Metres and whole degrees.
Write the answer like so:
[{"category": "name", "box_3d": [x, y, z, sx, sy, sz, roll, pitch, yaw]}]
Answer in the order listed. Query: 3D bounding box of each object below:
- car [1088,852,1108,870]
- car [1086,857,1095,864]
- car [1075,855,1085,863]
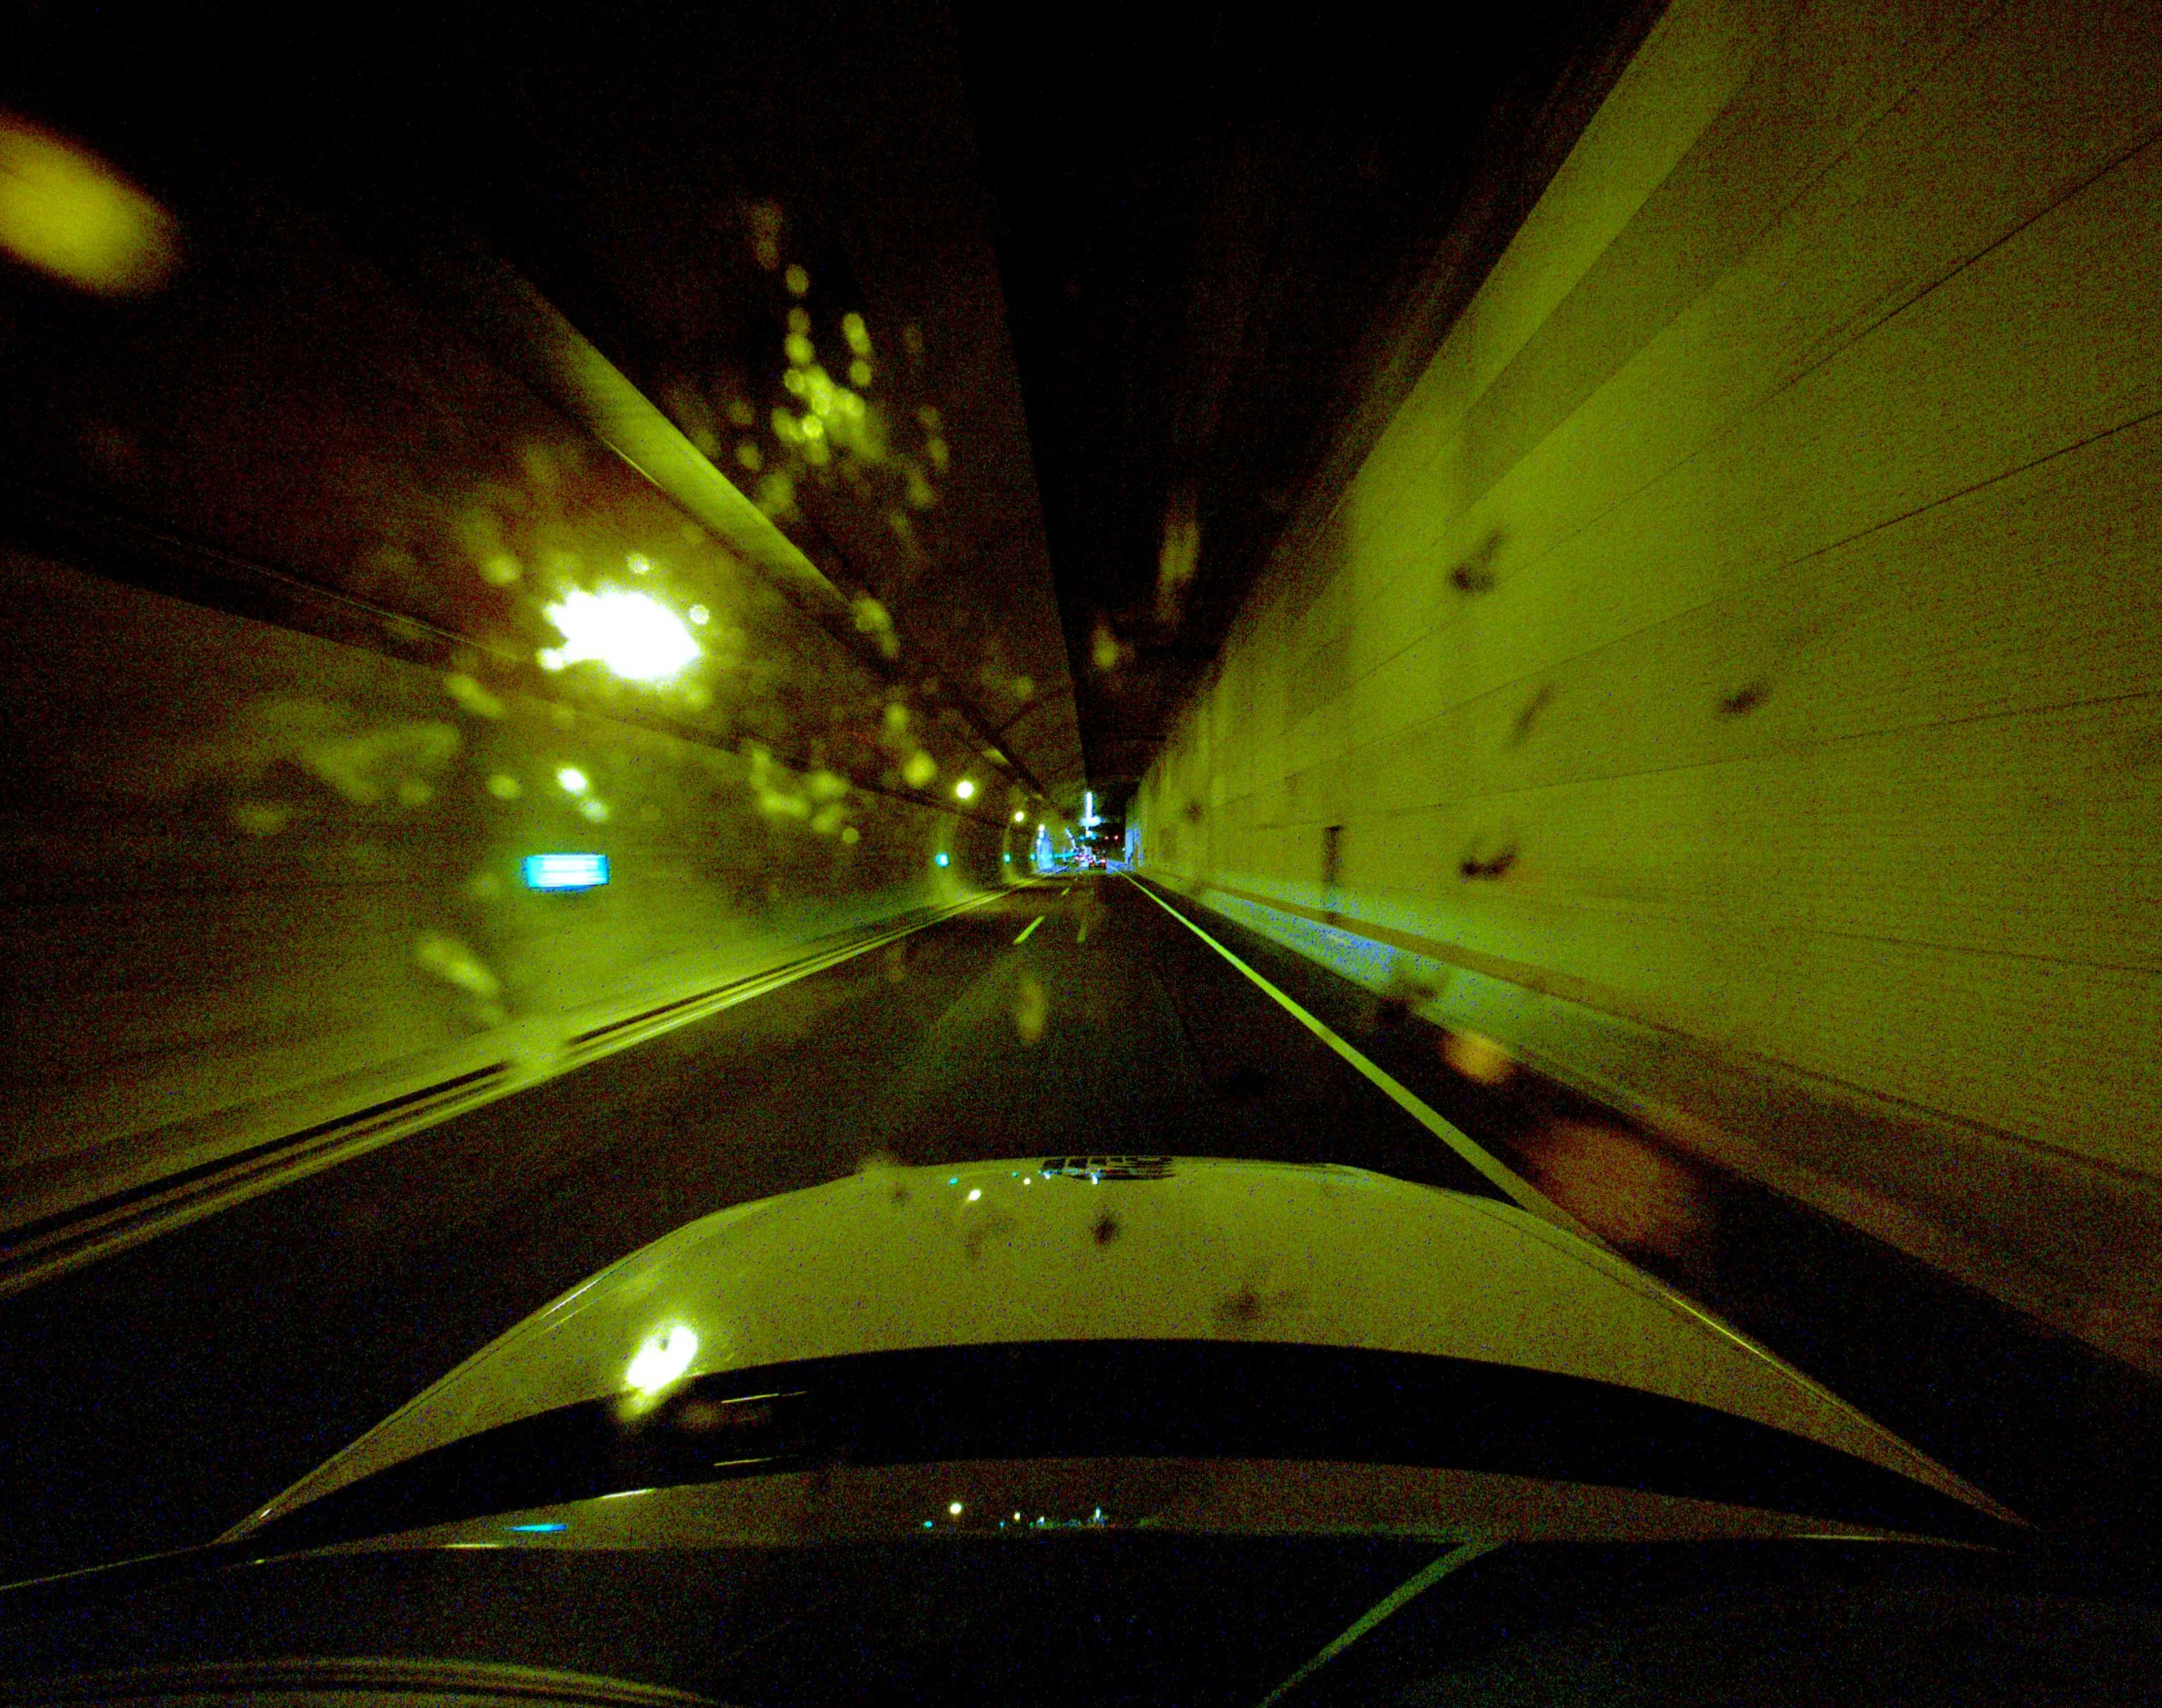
[{"category": "car", "box_3d": [1.822, 0.705, 85.771, 1.939, 1.794, 4.002, -1, 0, 2]}, {"category": "car", "box_3d": [2.284, 1.514, 192.771, 1.922, 1.687, 4.003, -2, 0, 3]}, {"category": "car", "box_3d": [-0.261, 0.982, 168.841, 1.923, 1.687, 4.002, -2, 0, 2]}]
